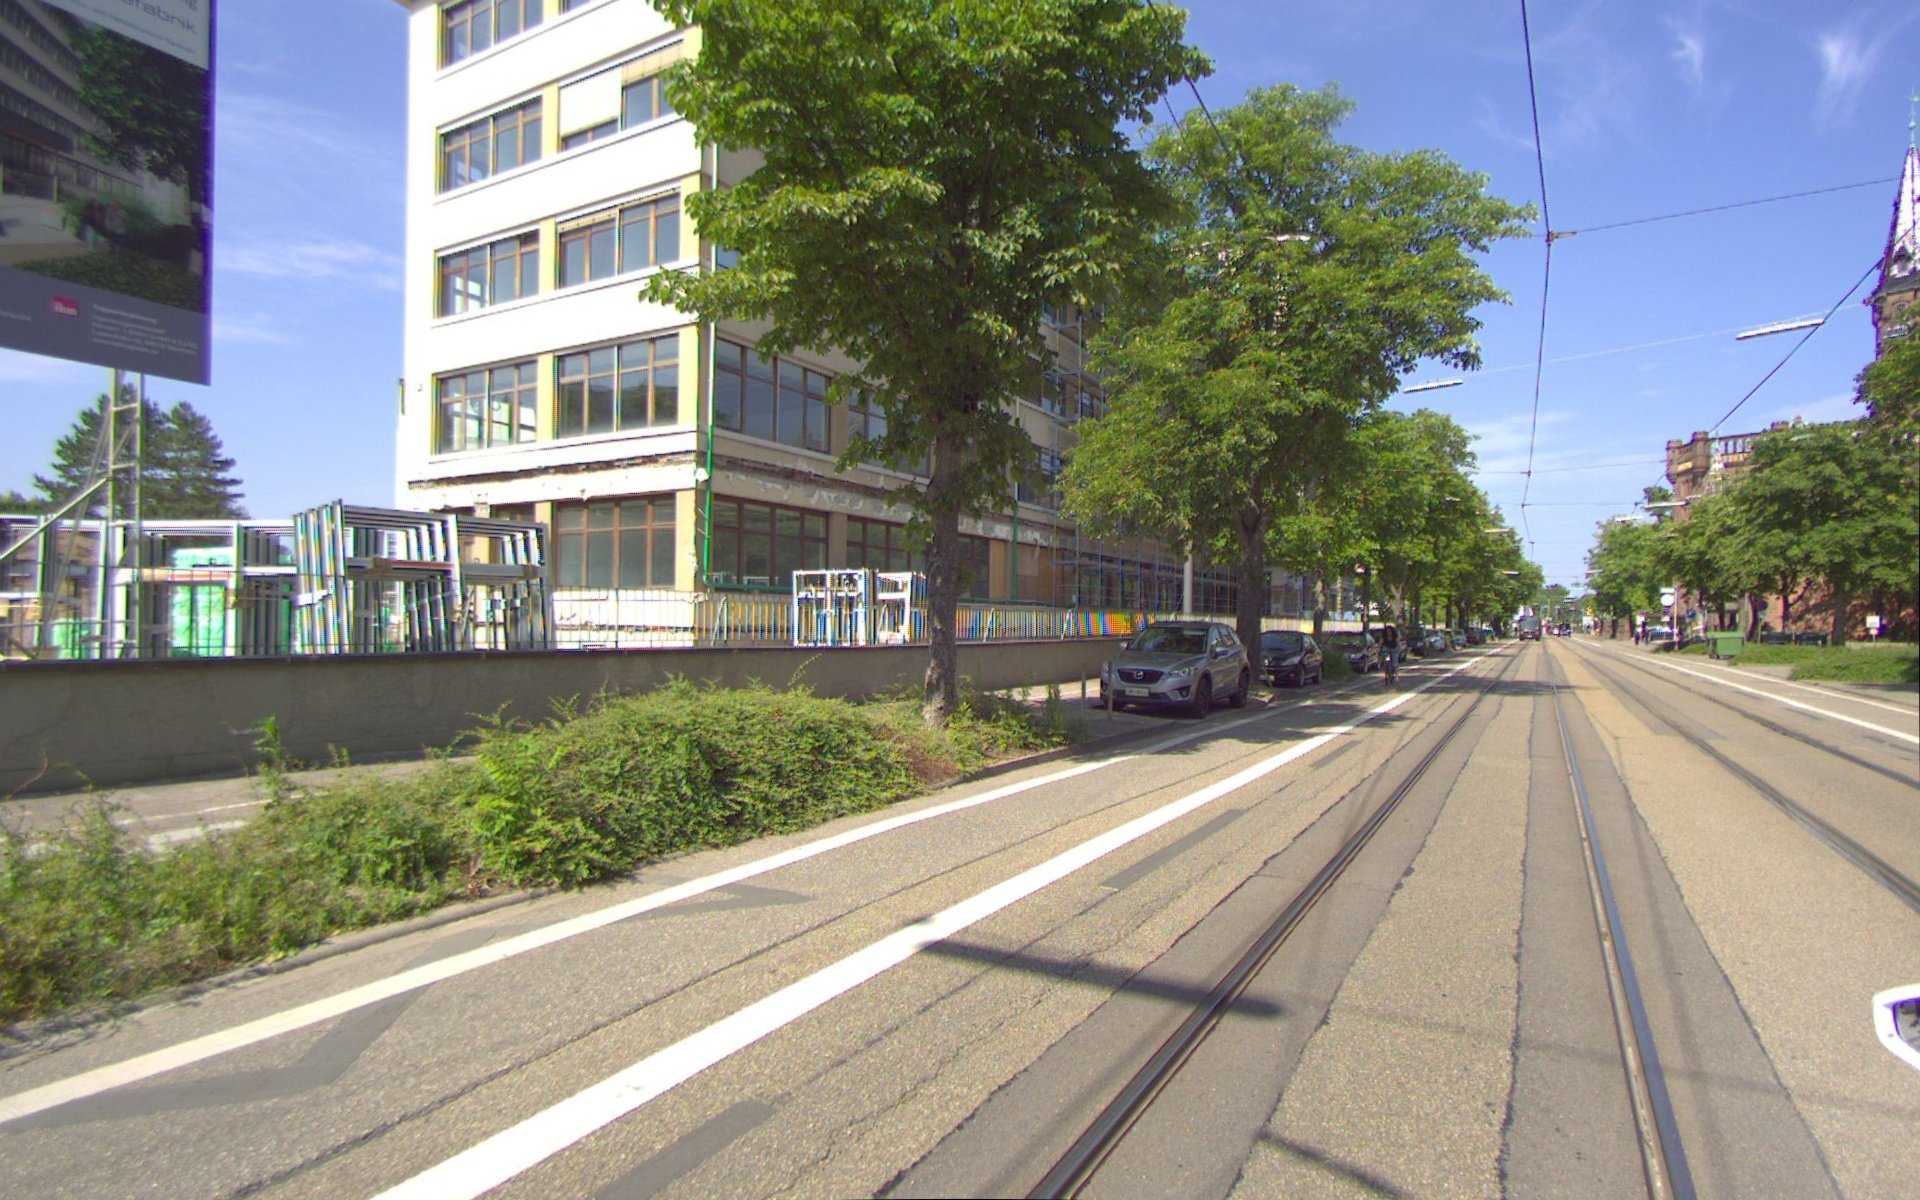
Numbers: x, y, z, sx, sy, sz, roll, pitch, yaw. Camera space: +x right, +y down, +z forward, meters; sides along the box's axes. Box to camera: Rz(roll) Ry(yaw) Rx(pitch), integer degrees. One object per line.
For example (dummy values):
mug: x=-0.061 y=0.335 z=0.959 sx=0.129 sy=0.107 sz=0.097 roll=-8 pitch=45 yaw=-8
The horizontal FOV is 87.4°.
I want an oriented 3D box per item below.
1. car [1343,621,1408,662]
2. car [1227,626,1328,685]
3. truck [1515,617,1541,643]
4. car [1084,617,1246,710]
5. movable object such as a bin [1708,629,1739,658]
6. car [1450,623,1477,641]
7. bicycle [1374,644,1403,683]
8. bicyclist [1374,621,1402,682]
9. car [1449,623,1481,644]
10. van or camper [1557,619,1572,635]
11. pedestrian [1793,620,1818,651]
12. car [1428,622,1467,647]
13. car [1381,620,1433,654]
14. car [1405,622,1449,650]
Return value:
car: x=18.458 y=1.816 z=44.520 sx=1.966 sy=1.662 sz=3.990 roll=1 pitch=-1 yaw=33
car: x=8.682 y=1.464 z=27.250 sx=1.789 sy=1.472 sz=3.993 roll=-2 pitch=-3 yaw=30
truck: x=68.272 y=3.611 z=120.722 sx=2.522 sy=2.977 sz=5.068 roll=1 pitch=-1 yaw=31
car: x=3.960 y=1.110 z=18.873 sx=1.788 sy=1.514 sz=4.100 roll=1 pitch=-1 yaw=30
movable object such as a bin: x=40.816 y=2.317 z=53.711 sx=1.245 sy=1.473 sz=1.076 roll=2 pitch=0 yaw=36
car: x=47.095 y=2.978 z=93.909 sx=1.964 sy=1.662 sz=3.993 roll=1 pitch=-1 yaw=30
bicycle: x=11.829 y=1.733 z=27.709 sx=0.586 sy=1.020 sz=1.485 roll=1 pitch=-1 yaw=28
bicyclist: x=11.792 y=1.409 z=27.668 sx=0.621 sy=1.628 sz=0.701 roll=1 pitch=0 yaw=28
car: x=41.322 y=2.717 z=82.163 sx=1.920 sy=1.662 sz=3.990 roll=1 pitch=-1 yaw=33
van or camper: x=108.842 y=4.853 z=180.928 sx=2.013 sy=2.654 sz=5.852 roll=1 pitch=-1 yaw=29
pedestrian: x=51.697 y=2.189 z=61.443 sx=1.043 sy=1.822 sz=1.259 roll=2 pitch=0 yaw=38
car: x=34.293 y=2.434 z=70.602 sx=1.966 sy=1.662 sz=3.990 roll=1 pitch=-1 yaw=33
car: x=23.909 y=1.958 z=53.698 sx=1.966 sy=1.662 sz=3.990 roll=1 pitch=-1 yaw=33
car: x=29.218 y=2.225 z=62.817 sx=1.966 sy=1.662 sz=3.990 roll=1 pitch=-1 yaw=33
